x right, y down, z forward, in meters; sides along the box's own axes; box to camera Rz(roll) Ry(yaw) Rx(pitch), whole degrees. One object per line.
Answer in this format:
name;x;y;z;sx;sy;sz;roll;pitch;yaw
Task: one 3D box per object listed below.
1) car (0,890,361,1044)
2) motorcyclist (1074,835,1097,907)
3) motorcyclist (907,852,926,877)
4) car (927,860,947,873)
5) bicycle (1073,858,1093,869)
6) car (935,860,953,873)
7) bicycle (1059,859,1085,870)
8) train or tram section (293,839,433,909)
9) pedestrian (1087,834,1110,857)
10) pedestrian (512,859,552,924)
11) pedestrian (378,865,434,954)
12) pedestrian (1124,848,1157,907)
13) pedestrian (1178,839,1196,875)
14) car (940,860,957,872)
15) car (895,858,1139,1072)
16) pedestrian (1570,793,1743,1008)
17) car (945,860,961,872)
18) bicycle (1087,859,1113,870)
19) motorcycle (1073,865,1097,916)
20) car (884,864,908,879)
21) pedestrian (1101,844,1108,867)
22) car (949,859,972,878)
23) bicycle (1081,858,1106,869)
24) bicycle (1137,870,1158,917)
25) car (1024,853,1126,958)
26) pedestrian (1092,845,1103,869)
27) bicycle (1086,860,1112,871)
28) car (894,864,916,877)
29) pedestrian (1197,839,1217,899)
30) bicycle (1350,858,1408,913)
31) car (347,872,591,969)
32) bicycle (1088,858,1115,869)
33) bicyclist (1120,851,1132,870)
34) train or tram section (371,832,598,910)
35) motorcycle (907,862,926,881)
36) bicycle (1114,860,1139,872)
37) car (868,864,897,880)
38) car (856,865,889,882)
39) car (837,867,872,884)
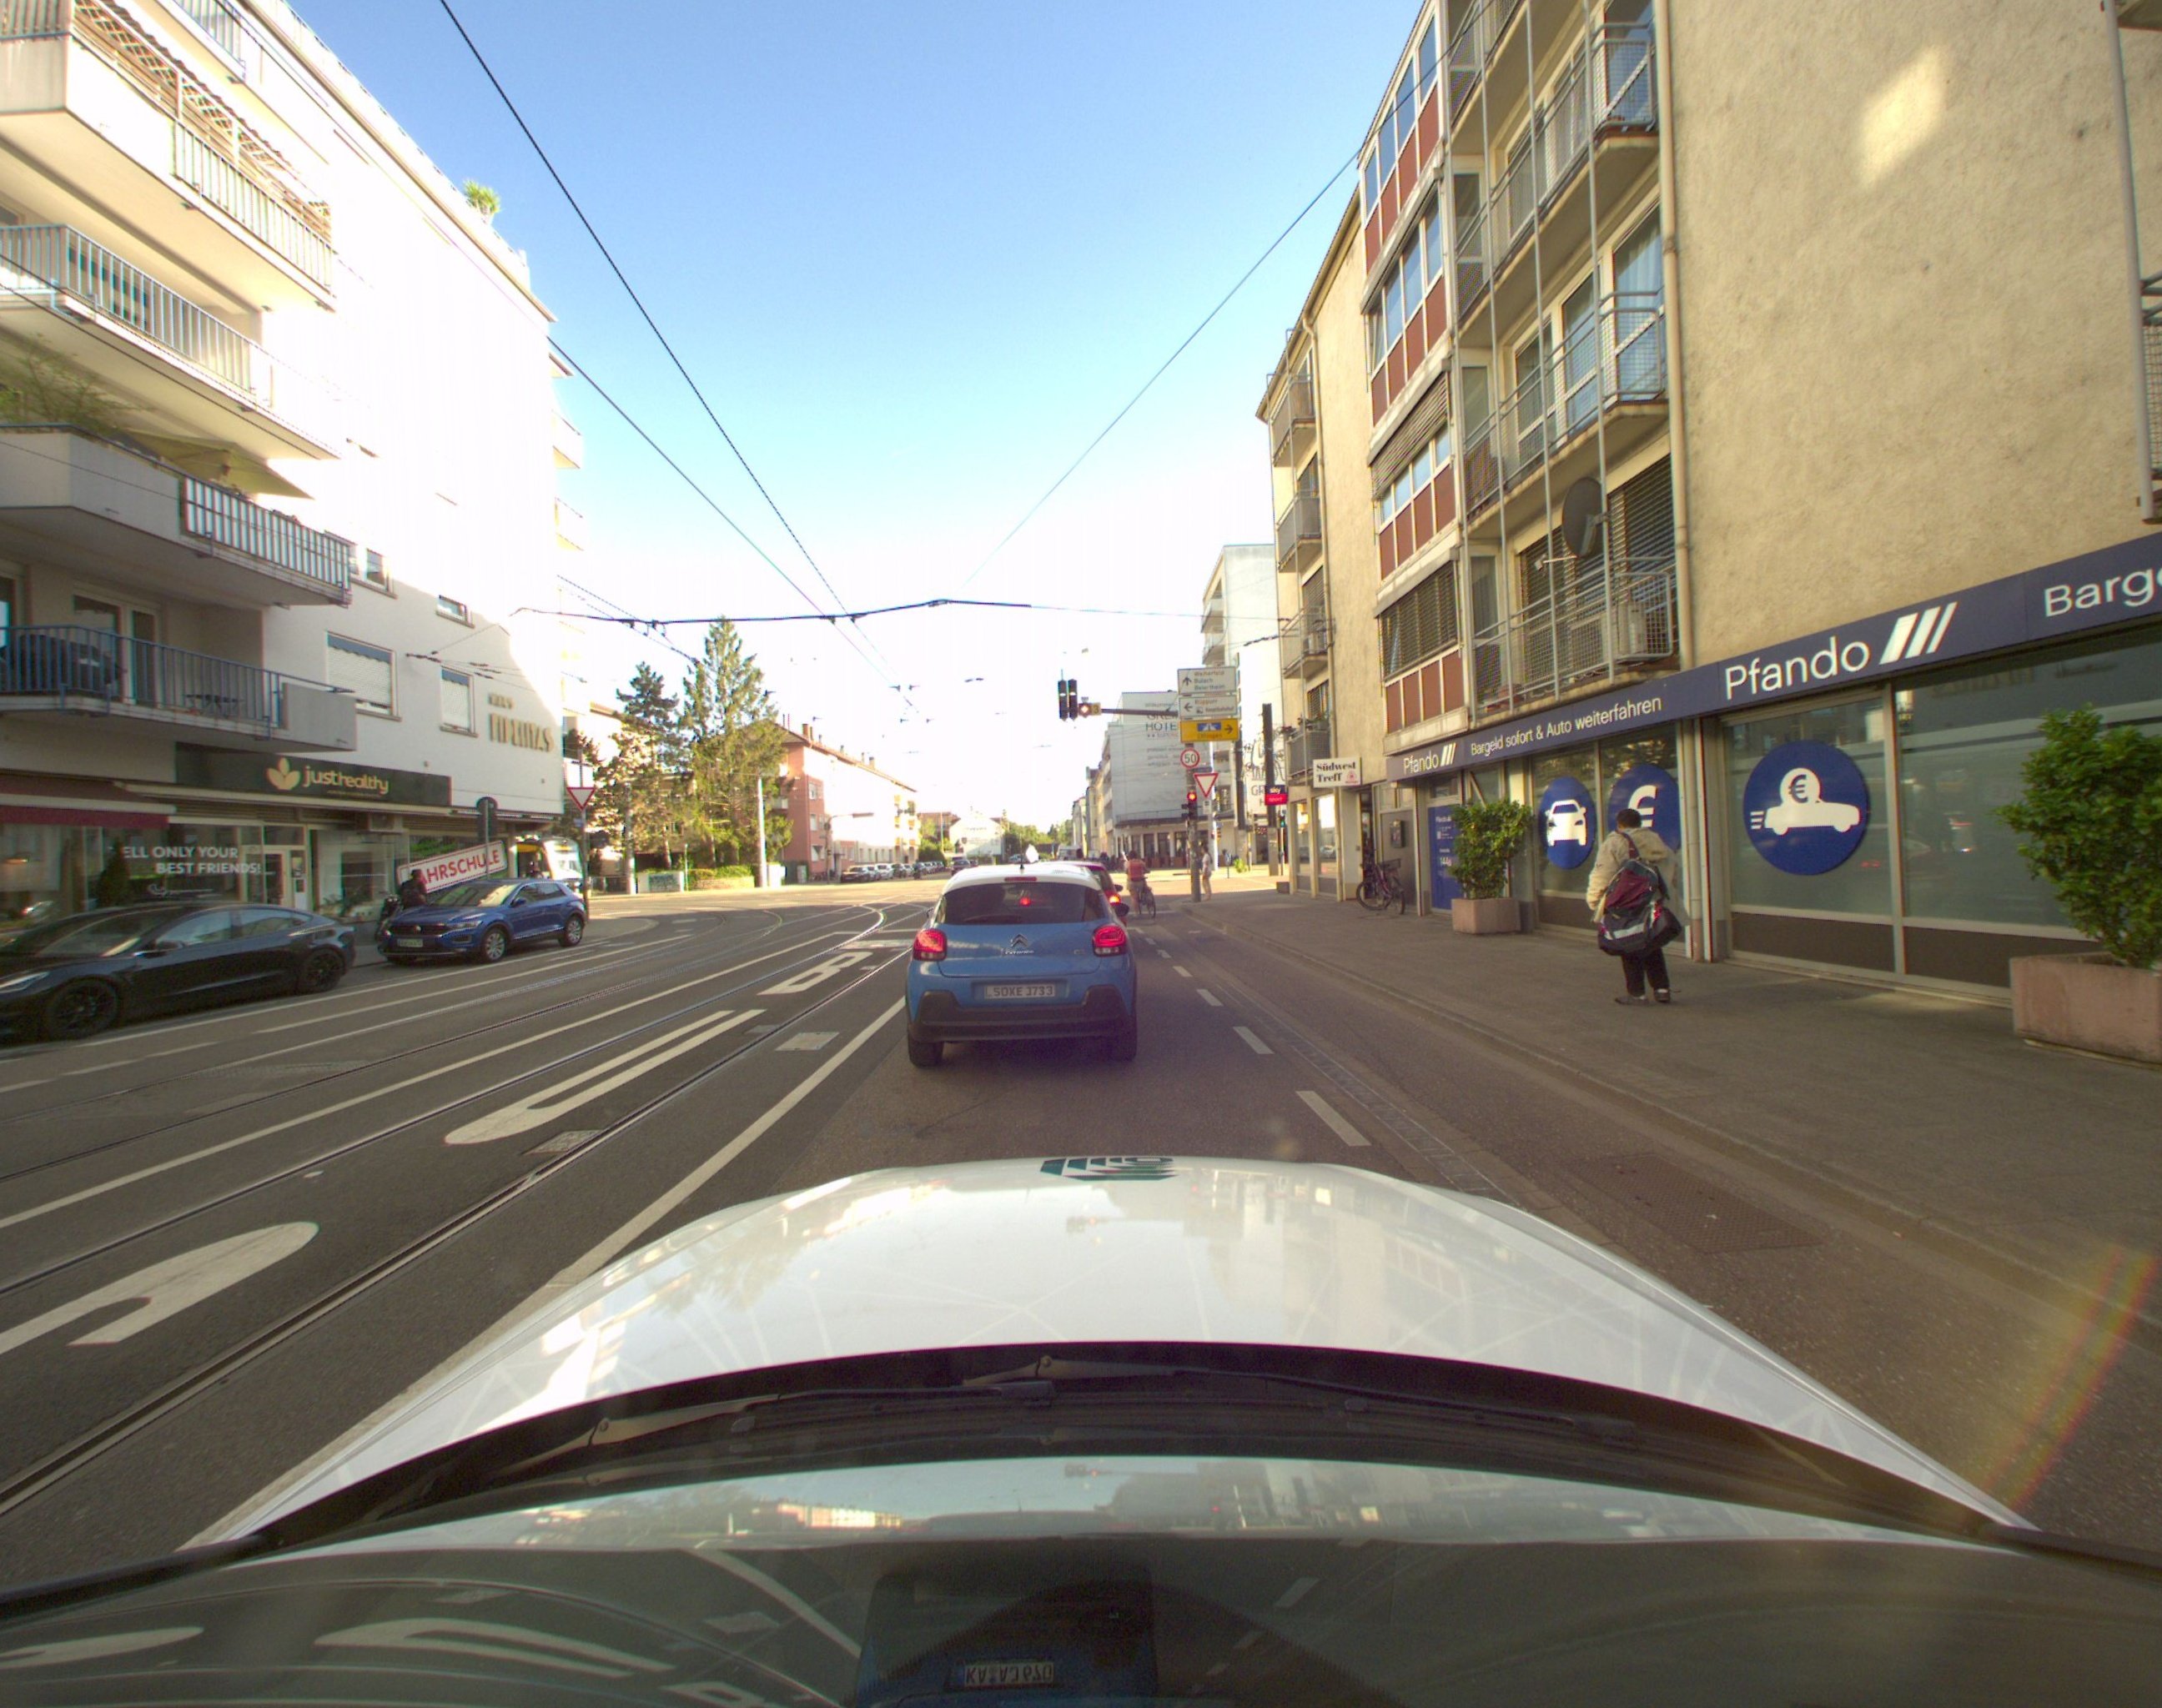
car;-12.088;1.294;10.445;1.816;1.387;4.425;-2;0;-2
motorcyclist;0.121;0.403;19.752;0.524;1.716;0.717;0;-1;2
motorcyclist;-13.654;0.889;67.603;1.182;2.013;1.275;-2;0;-1
car;-18.897;1.672;107.120;1.978;1.687;3.998;0;-1;-1
bicycle;0.155;0.821;69.622;1.765;0.901;0.369;-1;-1;36
car;-18.838;1.675;111.864;1.877;1.687;3.998;0;-1;-1
bicycle;-0.713;0.875;66.438;2.130;0.901;0.366;0;-1;-7
train or tram section;-40.298;1.074;45.640;8.969;3.631;2.852;-1;-1;28
pedestrian;1.632;-0.730;73.693;1.986;2.014;4.001;0;-1;2
pedestrian;-17.250;1.172;25.601;0.767;2.014;0.694;0;-1;-4
pedestrian;-14.051;1.144;16.973;0.569;1.805;0.699;0;-1;1
pedestrian;1.479;0.579;20.337;0.774;1.460;0.682;0;-1;1
pedestrian;6.092;0.170;46.871;0.922;2.014;0.760;0;-1;1
car;-19.110;1.677;117.302;1.828;1.687;3.998;0;-1;-1
car;-0.380;0.772;7.298;1.648;1.444;3.524;0;-1;2
pedestrian;4.502;0.346;6.428;0.822;1.593;0.751;0;-1;1
car;-19.184;1.758;121.954;1.841;1.687;3.872;0;-1;-1
bicycle;1.577;0.865;67.267;2.130;0.901;0.366;0;-1;-7
motorcycle;0.114;0.836;19.561;0.524;1.139;2.290;0;-1;2
car;-19.658;1.829;86.721;1.781;1.498;3.998;0;-1;-1
pedestrian;2.066;0.145;70.378;0.575;2.014;0.625;0;-1;-1
car;-11.342;1.339;76.860;1.770;1.666;3.854;0;-1;-2
bicycle;1.053;0.818;68.477;2.130;0.901;0.366;0;-1;-7
bicycle;1.669;0.976;20.643;0.426;1.123;1.999;0;-1;2
car;-0.045;0.762;13.244;1.419;1.467;2.925;-2;-1;2
pedestrian;1.425;0.235;69.275;0.635;2.014;0.717;0;-1;-34
bicycle;1.532;0.945;67.659;2.130;0.901;0.366;0;-1;-7
car;-19.945;1.844;92.589;1.728;1.498;3.996;0;-1;-2
pedestrian;3.756;0.440;24.310;0.515;1.783;0.595;0;-1;0
bicycle;5.732;0.576;15.728;0.540;0.998;1.706;0;-1;2
car;-11.965;1.213;16.336;1.864;1.531;4.068;-2;0;-2
bicycle;1.636;0.769;66.002;2.130;0.901;0.366;0;-1;-7
bicyclist;3.433;0.495;61.705;0.739;1.477;0.565;-1;-1;19
train or tram section;-30.256;0.869;41.116;12.479;3.593;3.089;-1;0;22
motorcycle;-13.596;1.413;67.497;0.921;1.486;3.724;0;-1;-1
bicycle;3.444;0.907;61.629;1.837;0.903;0.352;-1;-1;21
car;-19.404;1.738;79.842;1.781;1.511;4.150;0;0;1
car;-19.244;1.788;75.245;1.808;1.498;4.302;0;0;2
car;-19.229;1.810;69.382;1.787;1.421;3.996;0;0;1
